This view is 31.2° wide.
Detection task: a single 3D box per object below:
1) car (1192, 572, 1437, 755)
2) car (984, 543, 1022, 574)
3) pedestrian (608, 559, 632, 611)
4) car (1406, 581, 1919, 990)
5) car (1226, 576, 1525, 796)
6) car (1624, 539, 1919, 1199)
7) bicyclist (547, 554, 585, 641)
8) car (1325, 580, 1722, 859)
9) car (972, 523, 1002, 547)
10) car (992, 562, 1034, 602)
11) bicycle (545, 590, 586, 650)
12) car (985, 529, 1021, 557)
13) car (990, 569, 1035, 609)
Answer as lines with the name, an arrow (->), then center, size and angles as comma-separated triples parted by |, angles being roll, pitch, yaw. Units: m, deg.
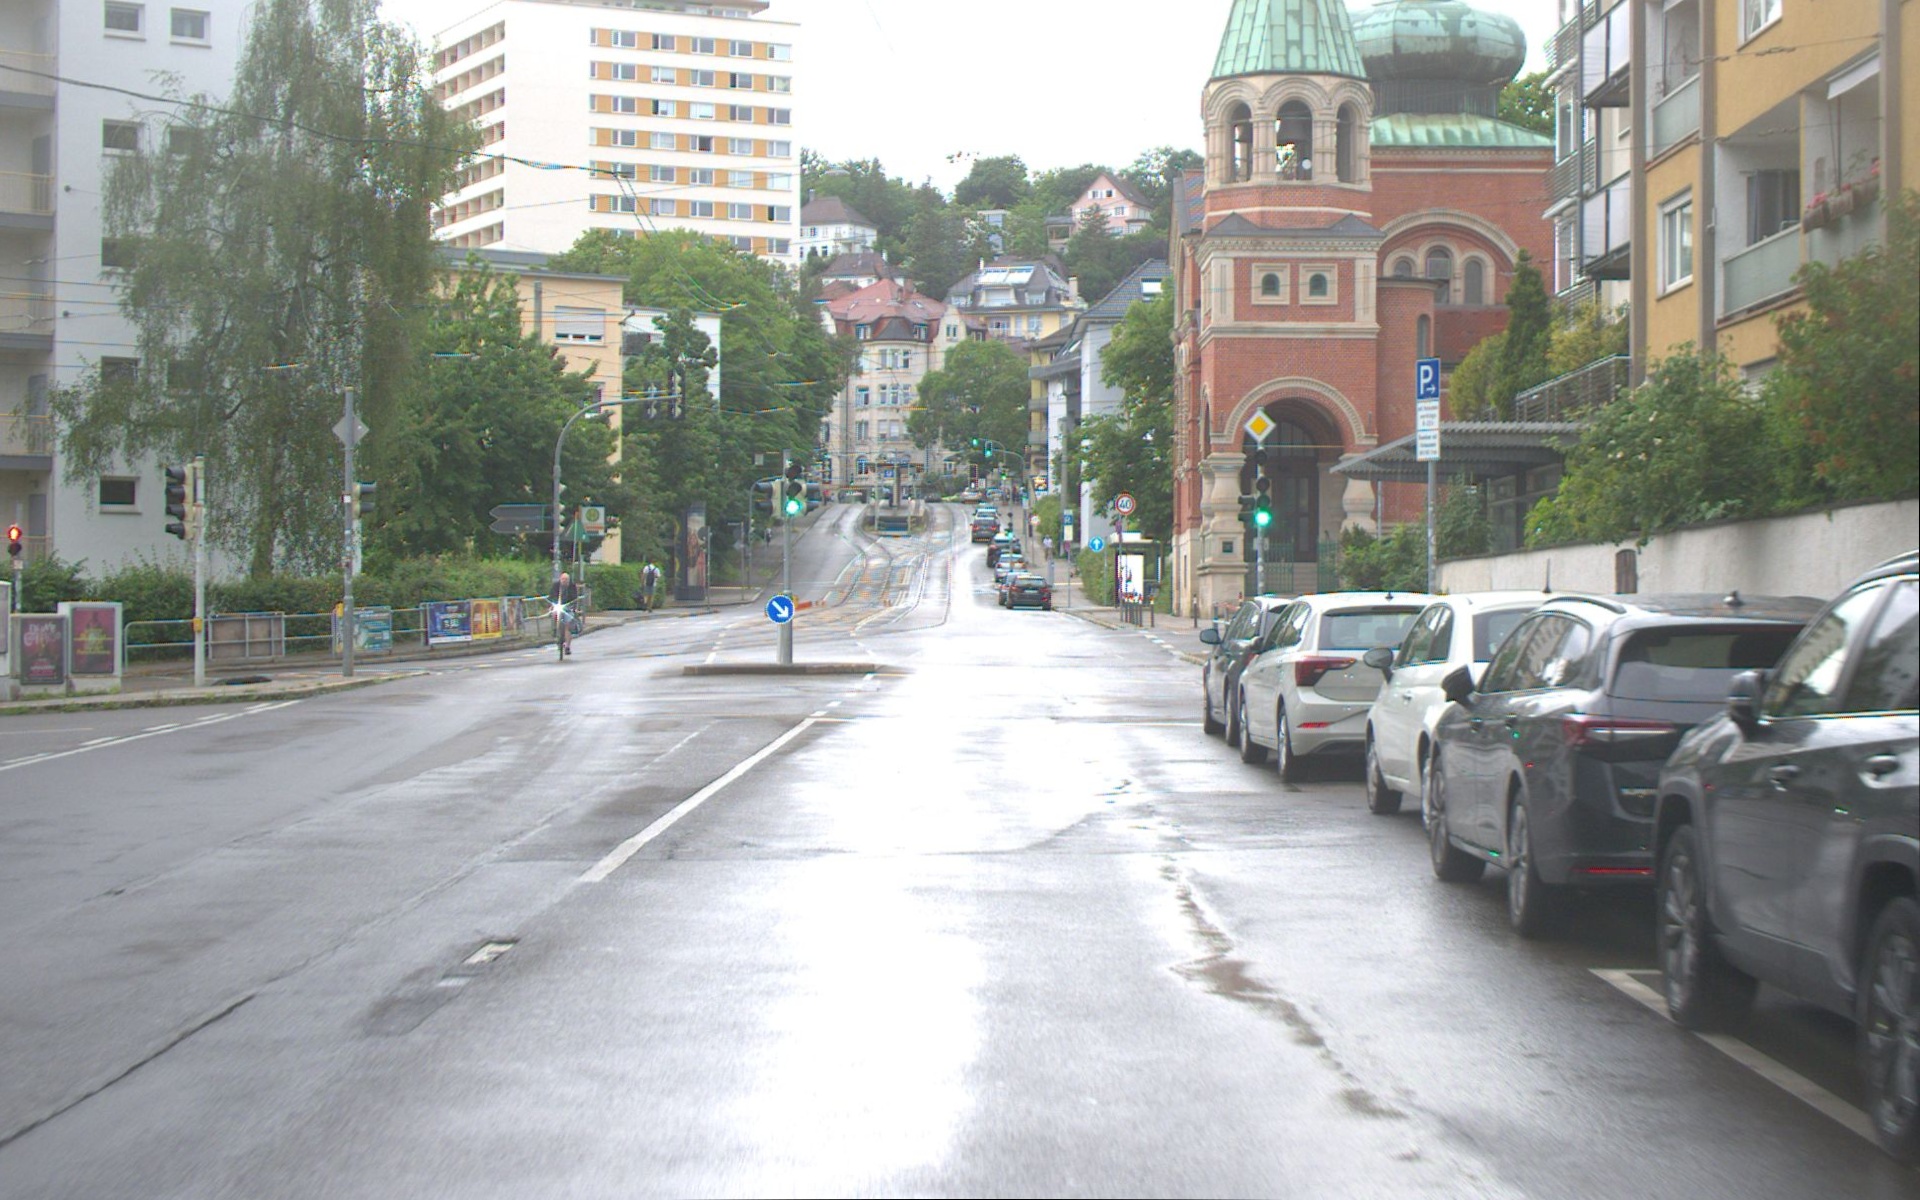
car -> 3.288, 0.547, 32.592 | 1.817, 1.517, 4.076 | 2, 1, -1
car -> 2.250, -2.206, 181.320 | 1.892, 1.505, 4.000 | 2, 1, -1
pedestrian -> -12.392, -0.553, 125.273 | 0.887, 1.886, 0.923 | 0, 1, -6
car -> 3.252, 0.732, 15.720 | 1.817, 1.517, 4.076 | 2, 1, -1
car -> 3.237, 0.625, 27.531 | 1.817, 1.517, 4.076 | 2, 1, -1
car -> 3.303, 0.682, 10.127 | 1.817, 1.647, 4.076 | 2, 1, -1
bicyclist -> -7.501, -0.052, 65.425 | 0.677, 1.655, 0.650 | 0, 0, -3
car -> 3.534, 0.691, 22.272 | 1.817, 1.517, 4.076 | 2, 1, -1
car -> 1.823, -4.343, 229.963 | 1.908, 1.505, 4.000 | 2, 1, -1
car -> 2.403, -0.832, 156.252 | 1.851, 1.760, 4.000 | 1, 1, 1
bicycle -> -7.514, 0.376, 65.492 | 0.677, 1.104, 1.800 | 0, 1, -3
car -> 2.457, -3.289, 197.468 | 1.908, 1.505, 4.000 | 2, 1, -1
car -> 2.221, -0.490, 144.794 | 1.732, 1.648, 4.000 | 0, 1, 3
